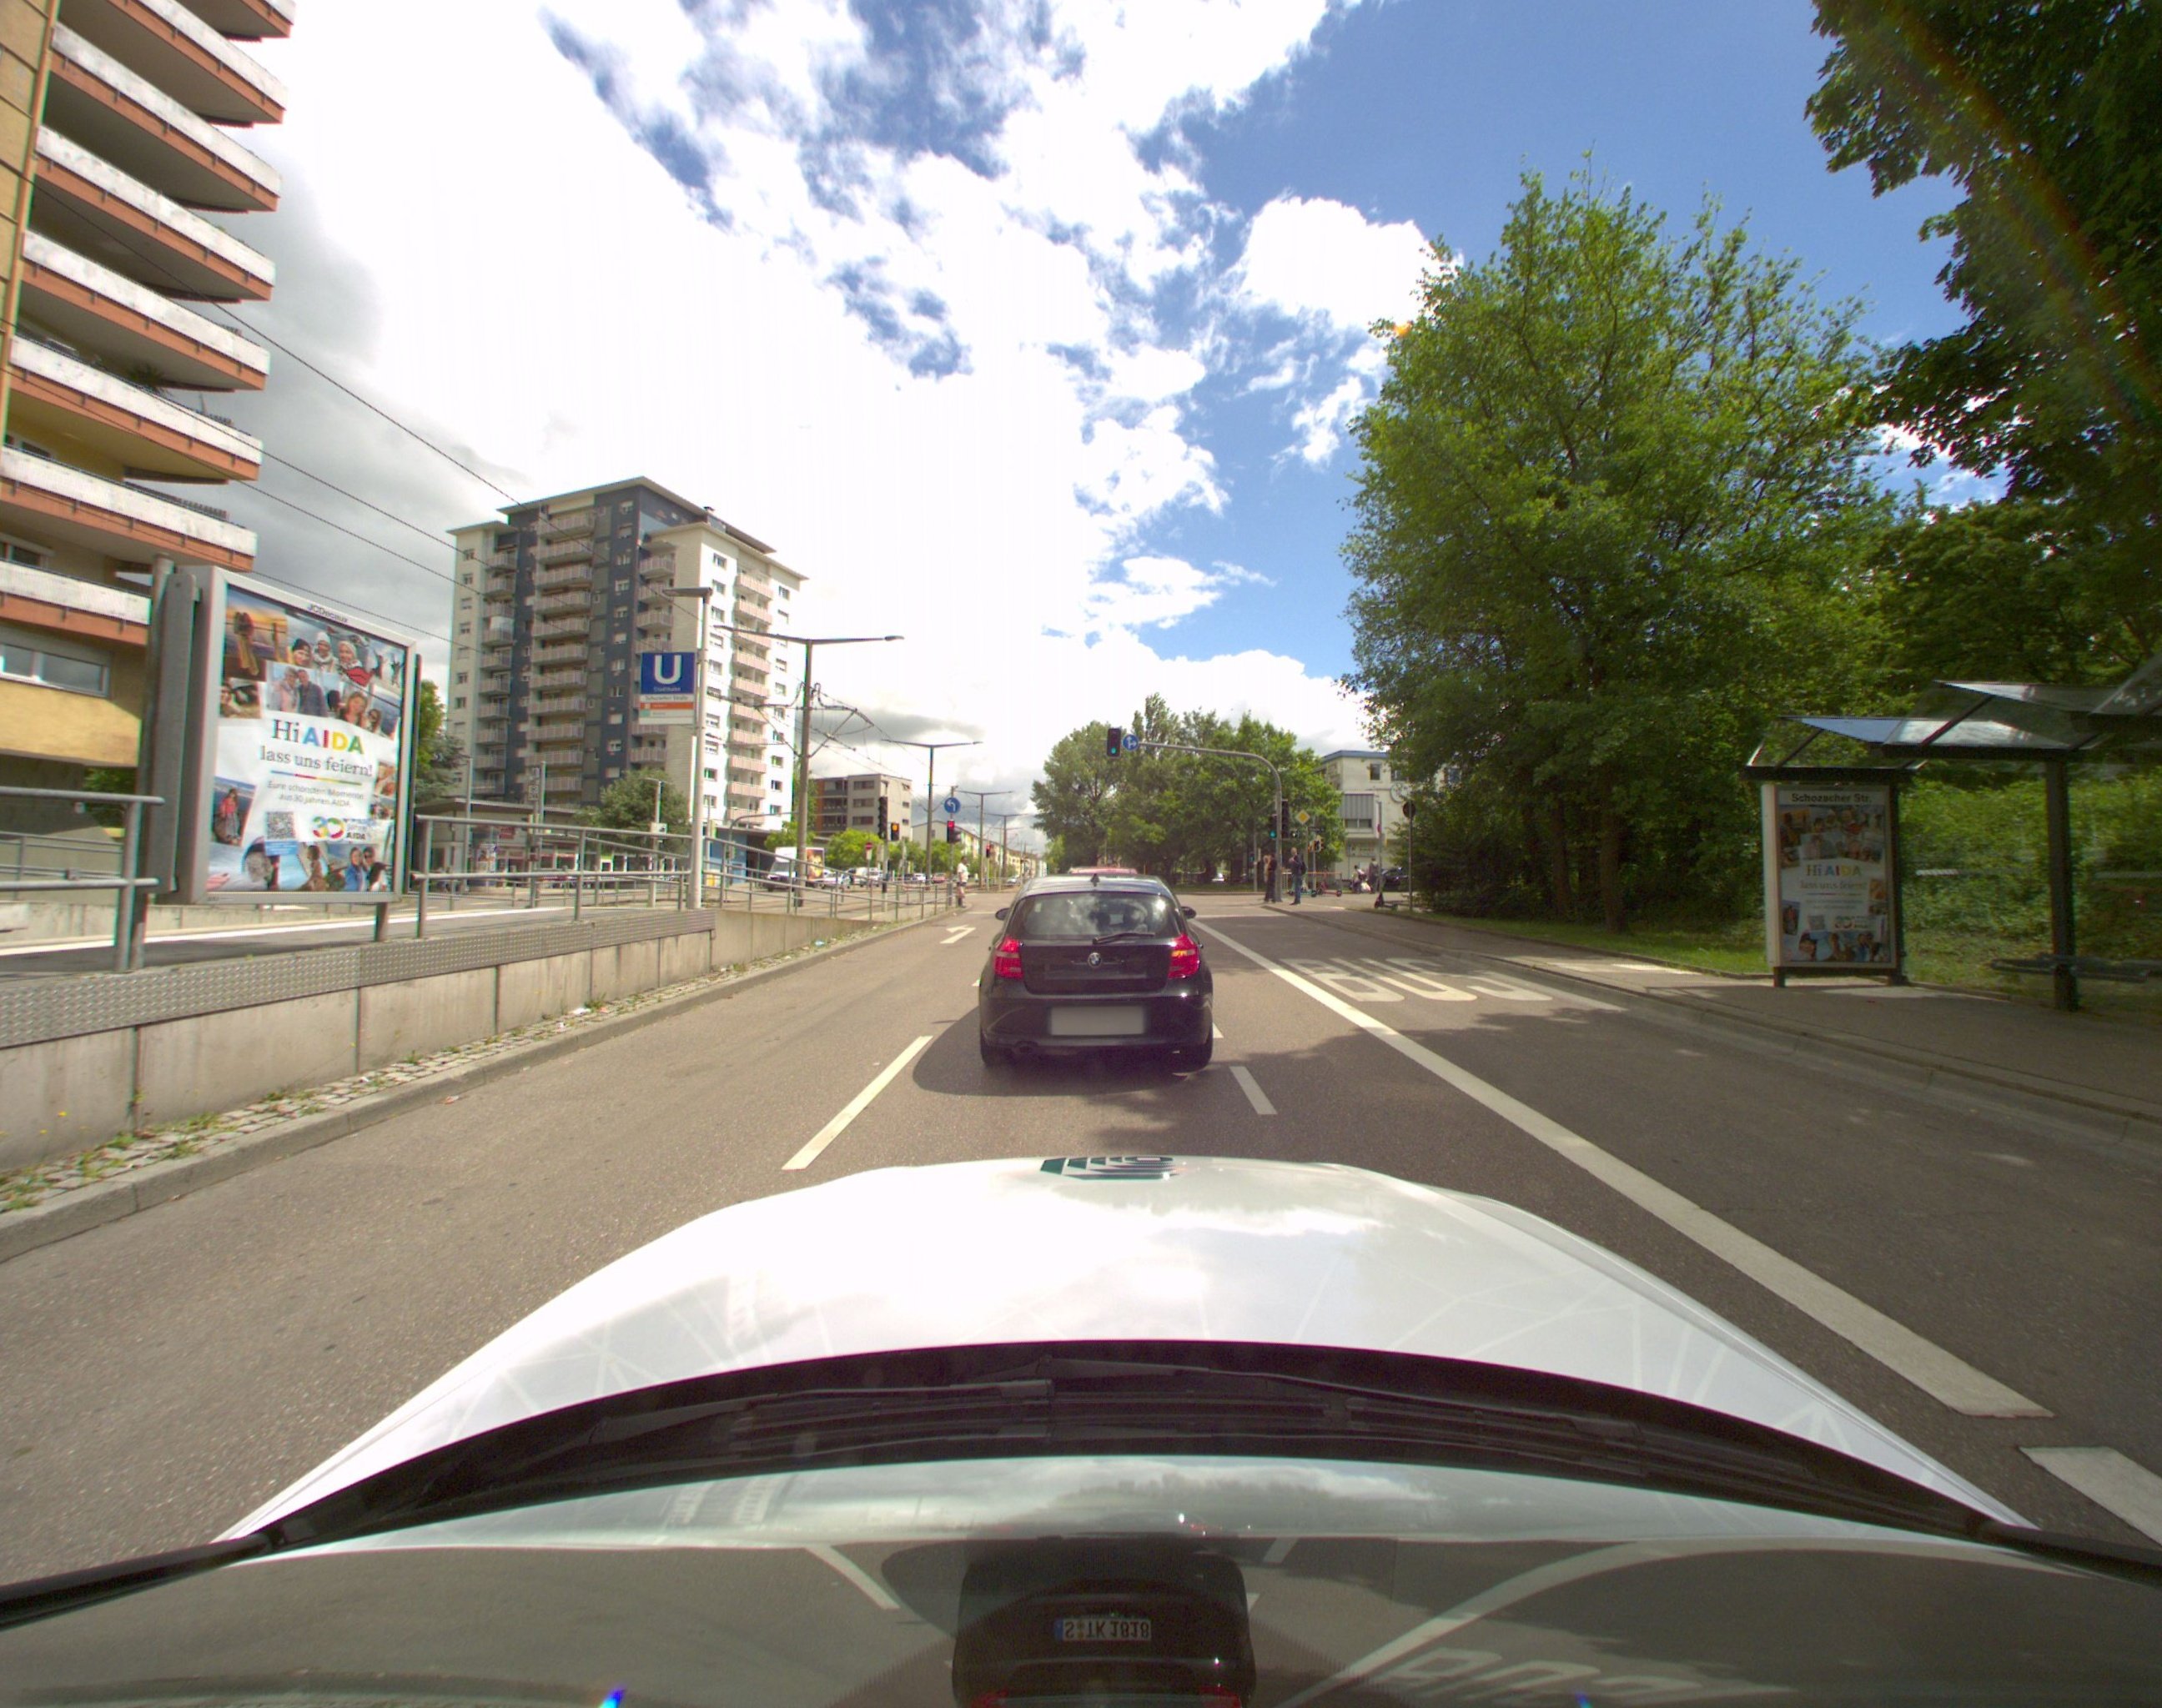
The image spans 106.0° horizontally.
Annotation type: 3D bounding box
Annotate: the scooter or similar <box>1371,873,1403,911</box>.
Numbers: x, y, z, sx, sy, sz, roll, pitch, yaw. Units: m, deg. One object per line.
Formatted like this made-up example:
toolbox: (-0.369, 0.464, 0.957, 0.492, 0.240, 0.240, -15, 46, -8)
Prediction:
scooter or similar: (10.668, 1.308, 28.393, 0.886, 1.230, 0.455, 4, -1, 2)

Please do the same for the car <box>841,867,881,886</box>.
car: (-24.289, 2.442, 89.897, 3.944, 1.975, 1.637, 0, -1, -41)

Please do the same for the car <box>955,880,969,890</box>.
car: (-20.102, 5.220, 137.558, 1.646, 1.534, 3.871, 0, -1, 0)

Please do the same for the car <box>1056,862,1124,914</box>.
car: (0.328, 0.970, 24.860, 1.893, 1.422, 4.540, 0, -1, 2)

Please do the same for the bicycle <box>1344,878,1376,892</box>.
bicycle: (12.681, 1.411, 37.052, 0.534, 0.610, 1.581, 1, -1, -18)

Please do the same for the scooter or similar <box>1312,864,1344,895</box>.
scooter or similar: (10.205, 1.049, 33.665, 1.145, 1.272, 0.556, 1, -1, 4)

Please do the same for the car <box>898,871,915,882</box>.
car: (-24.108, 3.084, 112.578, 1.586, 1.474, 3.775, 0, -1, 1)

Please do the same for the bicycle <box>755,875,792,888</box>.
bicycle: (-23.796, 2.140, 63.016, 2.570, 1.009, 0.749, 2, -3, -27)

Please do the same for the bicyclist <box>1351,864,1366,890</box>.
bicyclist: (12.661, 1.039, 37.130, 0.502, 1.157, 0.397, 0, -1, -17)

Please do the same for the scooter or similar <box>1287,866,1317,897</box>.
scooter or similar: (8.877, 1.098, 32.740, 1.105, 1.235, 0.540, 0, -1, 4)

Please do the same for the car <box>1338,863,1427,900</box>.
car: (17.779, 1.591, 48.155, 4.529, 2.014, 1.996, -1, 0, -6)

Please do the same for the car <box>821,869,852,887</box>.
car: (-20.622, 2.029, 68.808, 1.402, 1.461, 3.773, 0, -1, 0)

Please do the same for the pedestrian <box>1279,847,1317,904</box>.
pedestrian: (7.265, 0.707, 27.321, 1.008, 1.876, 0.797, 0, -1, -4)

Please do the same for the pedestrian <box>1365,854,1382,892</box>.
pedestrian: (13.414, 0.859, 37.375, 0.651, 1.713, 0.464, -1, -1, 28)

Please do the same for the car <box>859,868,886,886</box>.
car: (-20.473, 2.268, 80.163, 1.586, 1.756, 3.775, 0, -1, 1)

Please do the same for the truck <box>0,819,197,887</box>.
truck: (-34.571, -0.017, 28.677, 4.262, 2.290, 2.352, 0, -1, 2)

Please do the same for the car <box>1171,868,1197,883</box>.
car: (11.450, 2.336, 90.499, 1.862, 1.662, 3.987, 0, -1, -9)

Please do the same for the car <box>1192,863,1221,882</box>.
car: (12.221, 1.790, 79.543, 1.724, 1.871, 3.990, 0, -1, -7)

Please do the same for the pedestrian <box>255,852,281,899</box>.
pedestrian: (-35.159, 0.925, 35.239, 0.538, 2.014, 0.560, 0, -1, -8)

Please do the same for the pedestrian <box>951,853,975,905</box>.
pedestrian: (-4.029, 0.847, 27.779, 0.685, 1.734, 0.688, -1, -1, 1)

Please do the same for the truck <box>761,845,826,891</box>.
truck: (-20.368, 0.980, 58.150, 2.275, 3.118, 7.312, 0, -1, -2)

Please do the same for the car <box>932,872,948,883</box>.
car: (-20.353, 3.406, 117.942, 1.646, 1.534, 3.871, 0, -1, 0)

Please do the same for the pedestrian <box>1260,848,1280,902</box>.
pedestrian: (6.594, 0.732, 28.424, 0.632, 1.876, 0.519, 0, -1, 8)

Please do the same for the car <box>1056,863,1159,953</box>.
car: (0.472, 0.877, 14.577, 1.632, 1.400, 3.421, 0, -1, 2)

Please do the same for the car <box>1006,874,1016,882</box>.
car: (-14.743, 4.991, 171.158, 1.645, 1.534, 3.872, 0, -1, 2)

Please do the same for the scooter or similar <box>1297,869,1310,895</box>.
scooter or similar: (9.487, 1.200, 34.701, 0.543, 1.064, 1.267, 0, -1, 16)

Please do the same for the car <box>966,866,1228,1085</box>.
car: (0.157, 0.811, 6.988, 1.694, 1.400, 3.421, 0, -1, 2)

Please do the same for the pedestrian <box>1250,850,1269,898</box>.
pedestrian: (6.632, 0.747, 30.243, 0.632, 1.766, 0.519, 0, -1, 8)

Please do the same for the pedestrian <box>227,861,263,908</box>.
pedestrian: (-32.267, 1.174, 31.450, 0.654, 1.776, 0.662, 0, -1, 0)

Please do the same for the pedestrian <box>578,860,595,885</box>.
pedestrian: (-39.587, 1.486, 65.242, 0.851, 2.014, 0.852, -1, -1, 29)
